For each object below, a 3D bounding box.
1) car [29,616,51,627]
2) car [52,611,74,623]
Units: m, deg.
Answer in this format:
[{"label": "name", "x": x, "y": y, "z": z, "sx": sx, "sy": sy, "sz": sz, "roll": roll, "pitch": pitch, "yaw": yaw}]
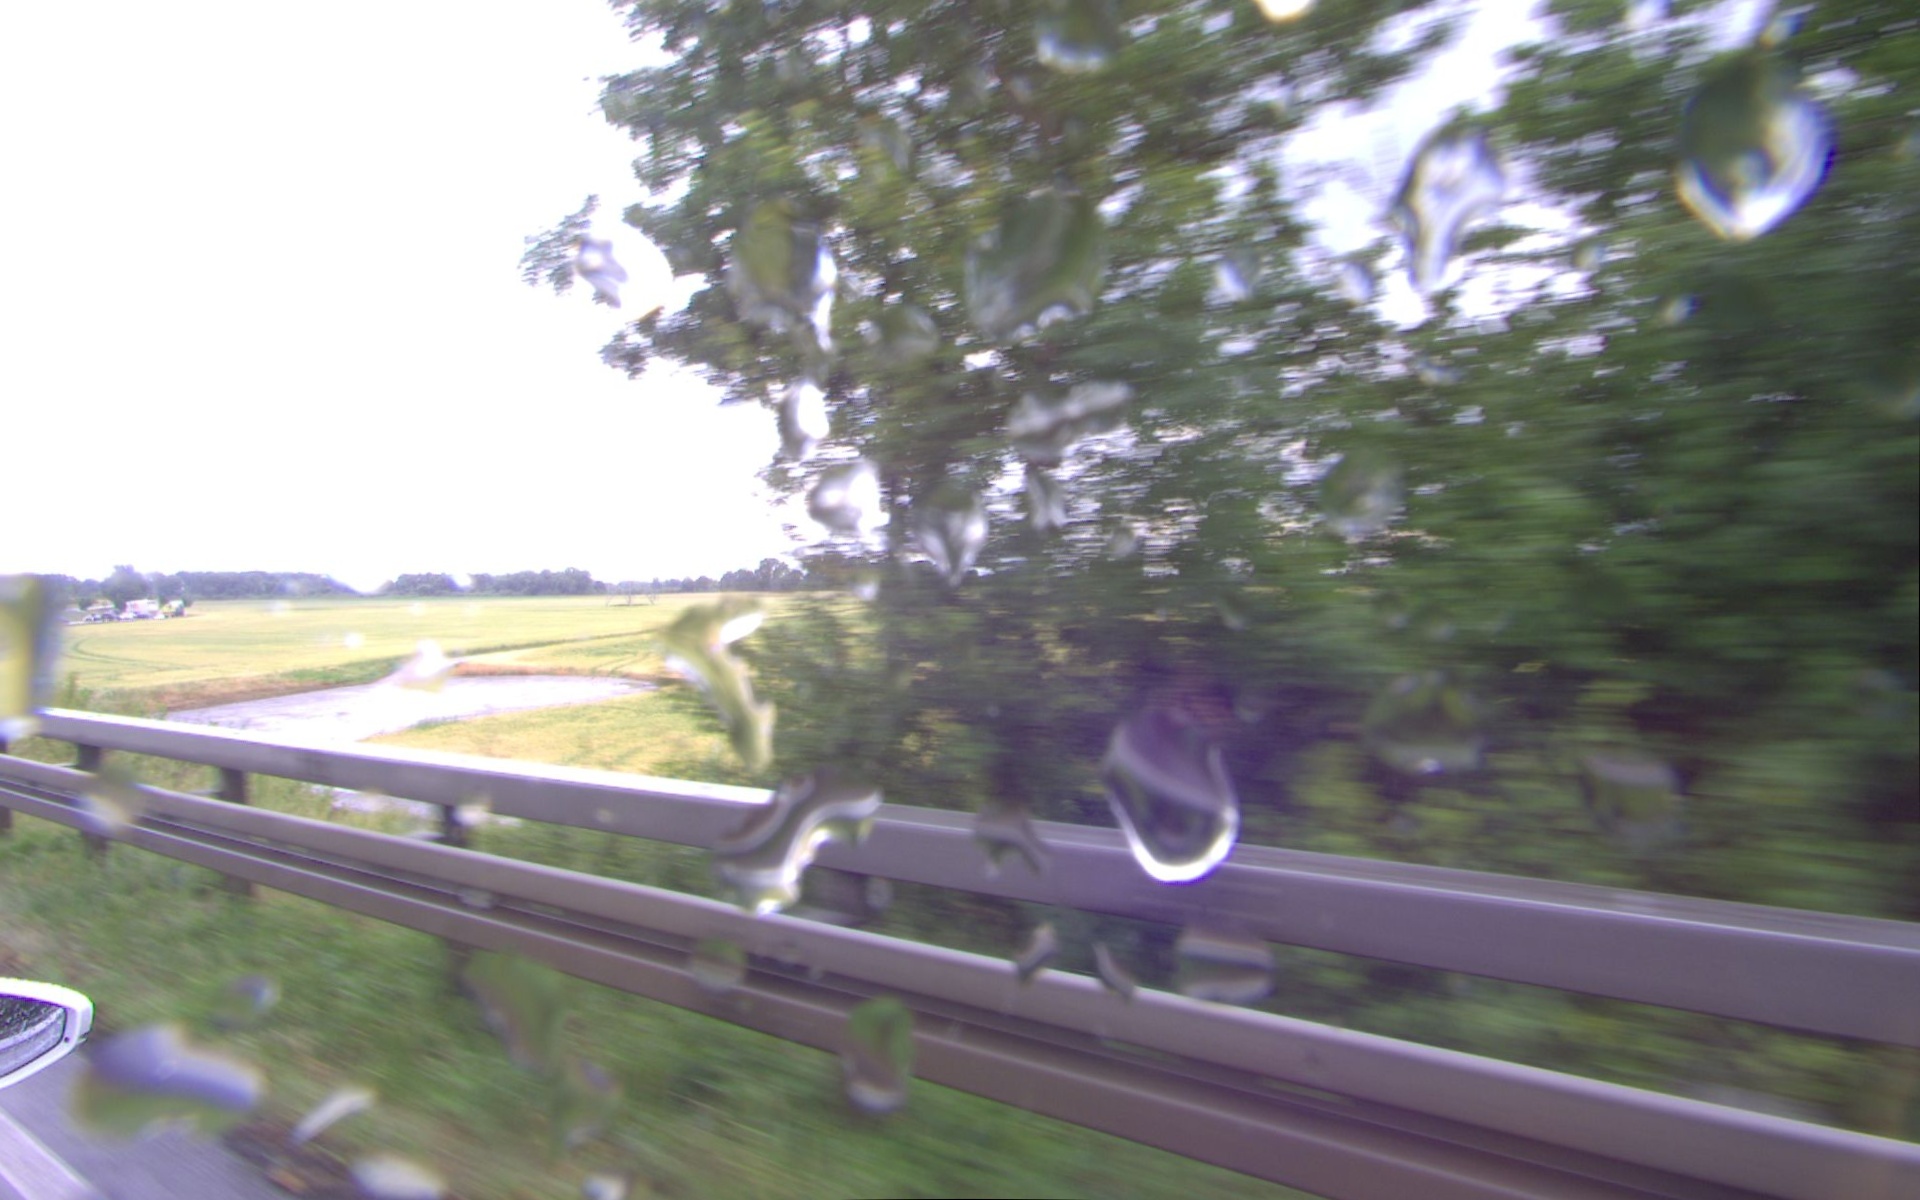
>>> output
[{"label": "car", "x": -160.643, "y": 3.707, "z": 174.947, "sx": 1.797, "sy": 1.861, "sz": 3.973, "roll": 0, "pitch": -2, "yaw": -27}, {"label": "car", "x": -163.324, "y": 3.147, "z": 182.355, "sx": 1.969, "sy": 2.039, "sz": 3.986, "roll": 0, "pitch": -2, "yaw": -26}]
